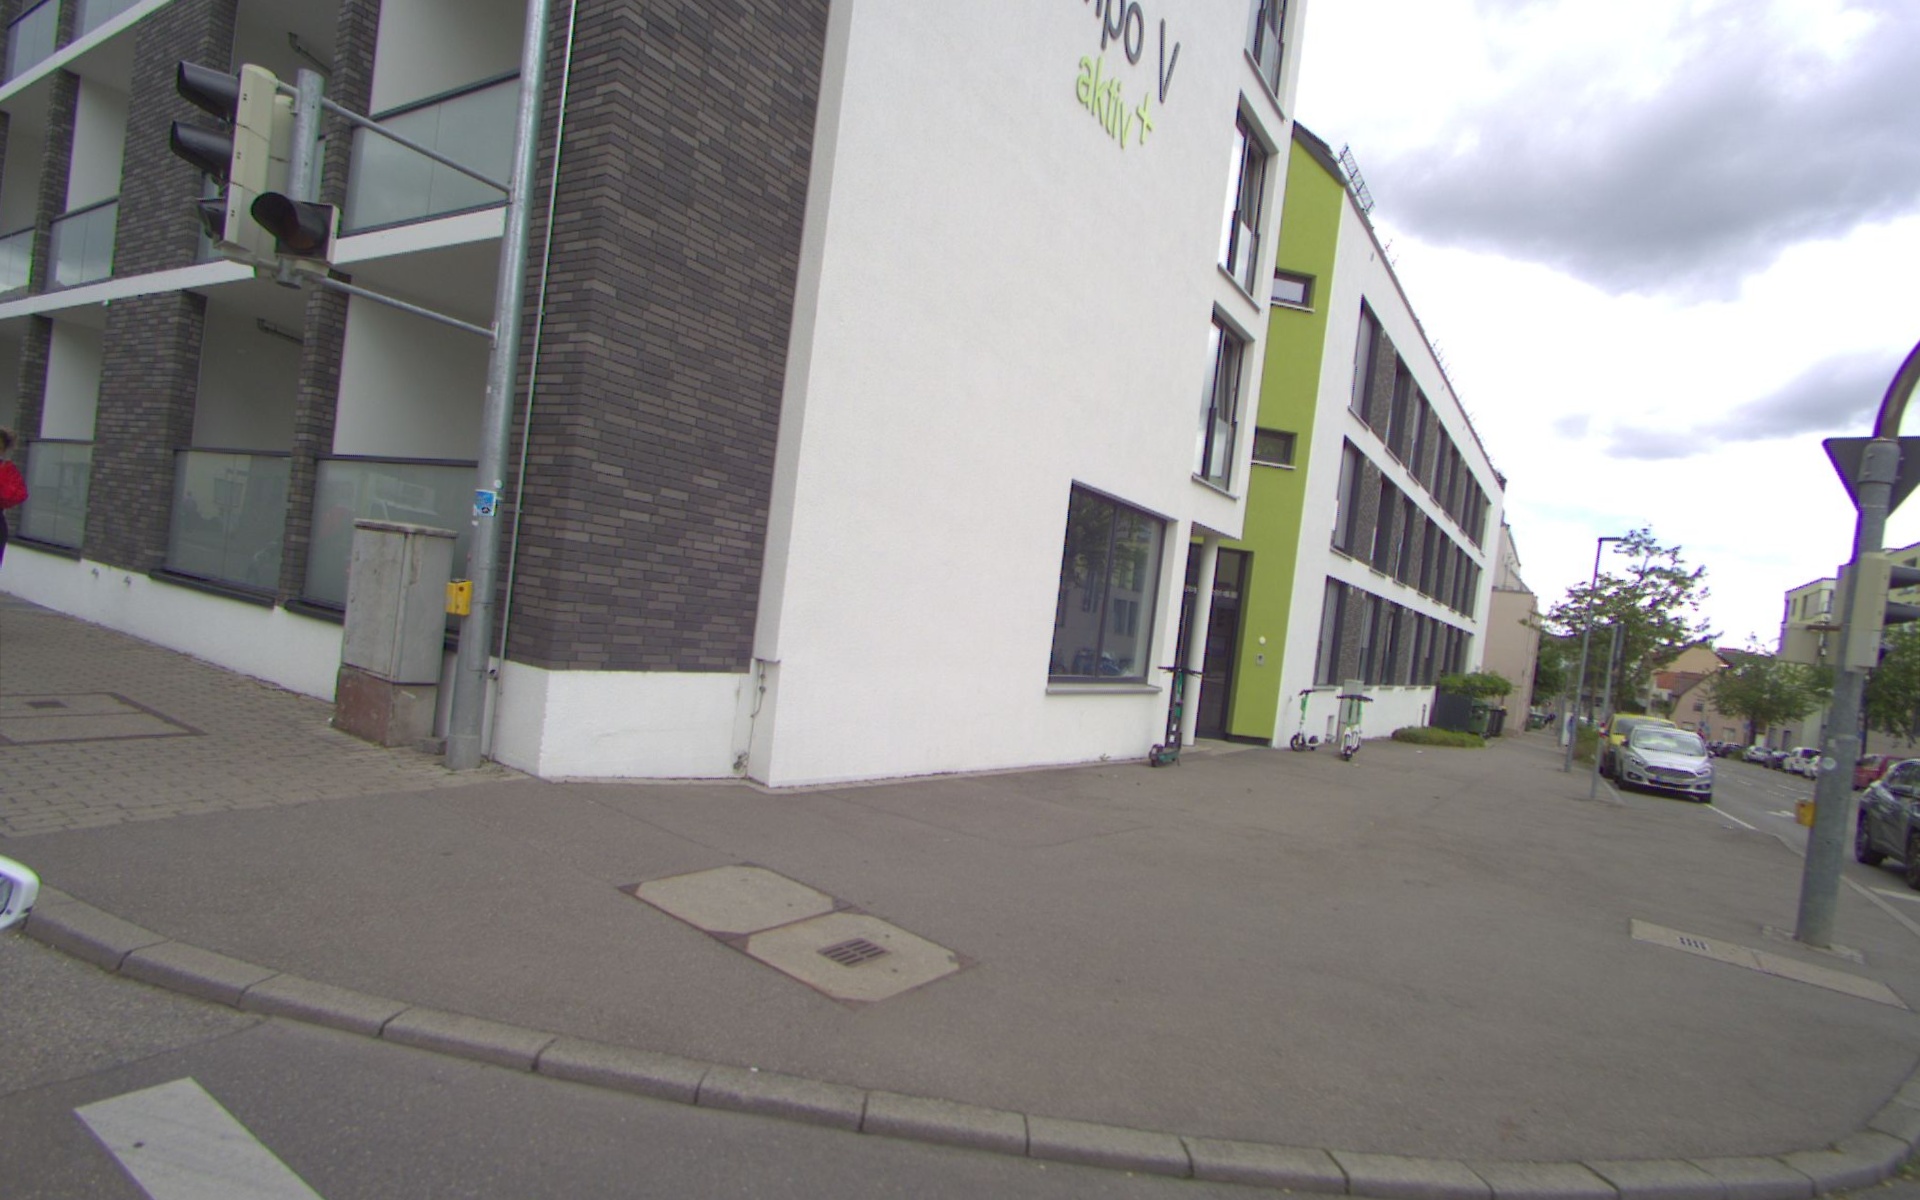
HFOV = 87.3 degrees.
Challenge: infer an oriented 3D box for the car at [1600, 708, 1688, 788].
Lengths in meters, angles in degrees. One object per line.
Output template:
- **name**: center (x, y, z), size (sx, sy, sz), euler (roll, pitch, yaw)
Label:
- **car**: center (20.417, 4.376, 30.173), size (1.778, 1.946, 4.626), euler (7, -2, 32)

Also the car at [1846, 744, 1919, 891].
- **car**: center (13.221, 2.897, 12.944), size (1.920, 1.678, 4.096), euler (7, -2, 32)

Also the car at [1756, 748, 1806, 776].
- **car**: center (57.338, 11.286, 70.298), size (1.937, 1.512, 4.419), euler (7, -2, 31)

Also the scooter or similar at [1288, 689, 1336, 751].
- **scooter or similar**: center (6.725, 2.297, 19.217), size (0.358, 1.091, 1.228), euler (7, -1, 39)

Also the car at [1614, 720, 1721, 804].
- **car**: center (17.685, 3.991, 25.319), size (1.778, 1.649, 4.418), euler (7, -2, 32)

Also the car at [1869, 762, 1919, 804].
- **car**: center (42.276, 8.202, 44.629), size (1.937, 1.512, 4.419), euler (7, -2, 31)

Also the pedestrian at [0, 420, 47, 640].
- **pedestrian**: center (-8.332, -0.619, 8.402), size (0.847, 1.811, 0.807), euler (8, 4, 33)

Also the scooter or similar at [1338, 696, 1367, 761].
- **scooter or similar**: center (7.285, 2.370, 18.691), size (0.357, 1.091, 1.233), euler (7, -1, 21)

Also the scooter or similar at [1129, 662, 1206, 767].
- **scooter or similar**: center (2.699, 1.483, 13.012), size (0.400, 1.249, 1.232), euler (7, -1, 33)

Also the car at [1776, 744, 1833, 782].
- **car**: center (54.193, 10.411, 64.659), size (1.937, 1.950, 4.419), euler (7, -2, 31)

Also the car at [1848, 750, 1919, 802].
- **car**: center (44.708, 8.443, 48.466), size (1.937, 2.001, 4.419), euler (7, -2, 31)

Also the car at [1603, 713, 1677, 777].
- **car**: center (23.778, 5.029, 35.311), size (1.778, 1.815, 4.418), euler (7, -2, 32)

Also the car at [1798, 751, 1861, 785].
- **car**: center (50.923, 9.812, 58.996), size (1.937, 1.512, 4.419), euler (7, -2, 31)

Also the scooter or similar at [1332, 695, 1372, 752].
- **scooter or similar**: center (7.938, 2.501, 20.366), size (0.358, 1.091, 1.175), euler (7, -1, 36)
